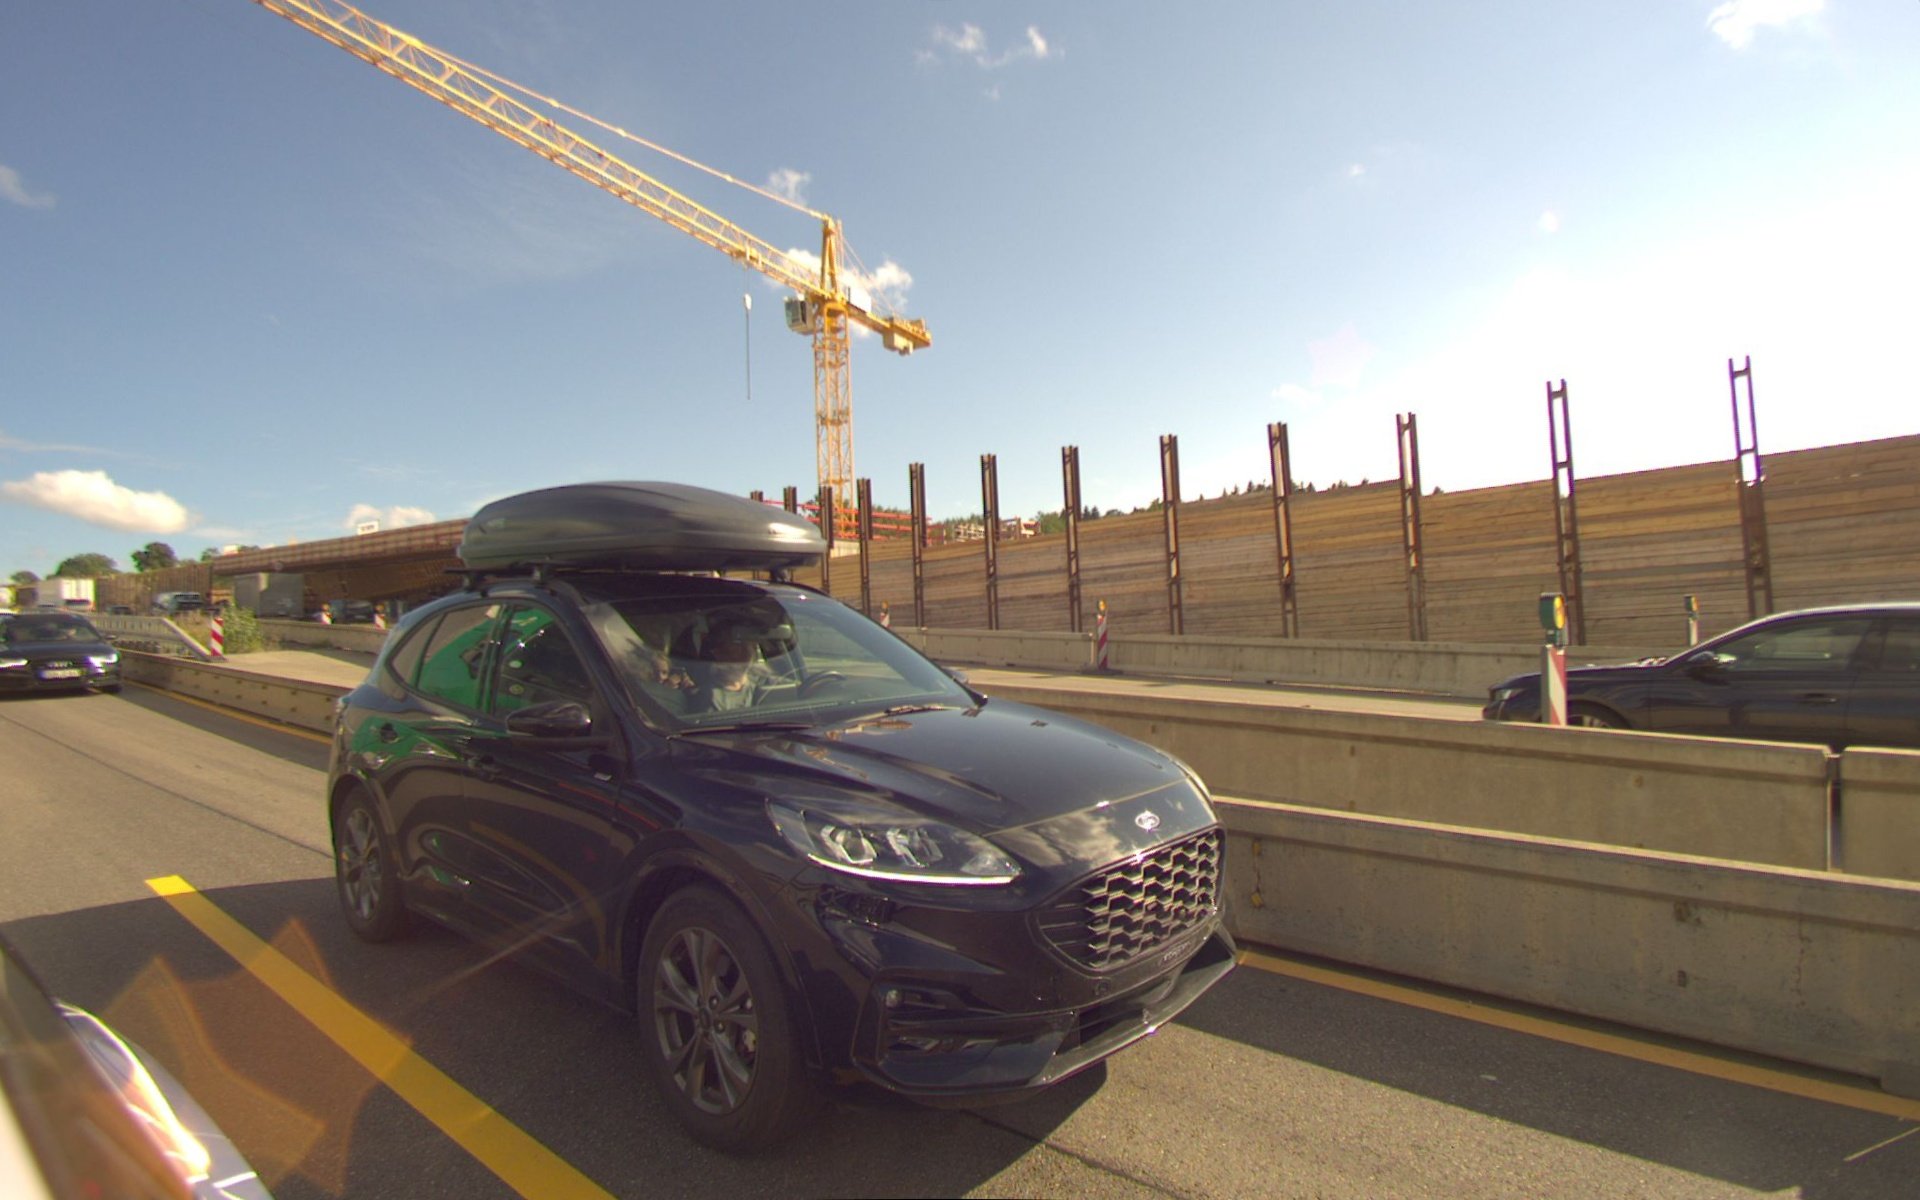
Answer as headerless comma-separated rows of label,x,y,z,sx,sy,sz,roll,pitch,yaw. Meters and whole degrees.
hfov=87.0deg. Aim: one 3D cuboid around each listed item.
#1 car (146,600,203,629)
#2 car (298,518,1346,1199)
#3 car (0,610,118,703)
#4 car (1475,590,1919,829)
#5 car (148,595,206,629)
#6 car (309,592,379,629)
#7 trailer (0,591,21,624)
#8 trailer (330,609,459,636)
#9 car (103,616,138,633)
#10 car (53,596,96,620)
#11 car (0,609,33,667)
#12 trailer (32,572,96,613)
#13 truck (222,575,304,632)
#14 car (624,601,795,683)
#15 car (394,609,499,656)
car,-48.358,0.907,62.281,4.745,1.648,1.834,-2,-1,40
car,-0.990,0.665,4.052,4.384,1.554,1.780,-2,-1,43
car,-17.160,0.955,18.755,4.660,1.467,1.782,0,1,43
car,6.344,0.666,6.978,1.799,1.451,4.620,-1,-1,-41
car,-57.791,0.848,74.638,5.864,2.420,2.235,0,1,41
car,-31.898,0.515,52.355,4.445,1.817,1.972,0,1,43
trailer,-127.740,0.923,135.183,13.818,4.187,2.657,0,1,45
trailer,-26.587,0.986,47.263,10.331,0.947,2.326,0,1,44
car,-71.856,2.078,86.616,4.002,1.282,1.898,0,1,45
car,-72.934,0.677,83.343,5.029,1.779,2.103,-2,-1,42
car,-28.979,1.092,29.961,4.560,1.576,1.783,0,1,42
trailer,-90.132,-0.740,101.707,13.792,3.870,2.792,0,1,40
truck,-43.225,0.172,62.659,7.539,3.336,2.671,0,1,44
car,-5.083,0.805,20.250,1.733,1.451,3.809,-1,-1,-42
car,-17.301,1.087,33.986,1.831,1.451,4.561,-1,-1,-45
